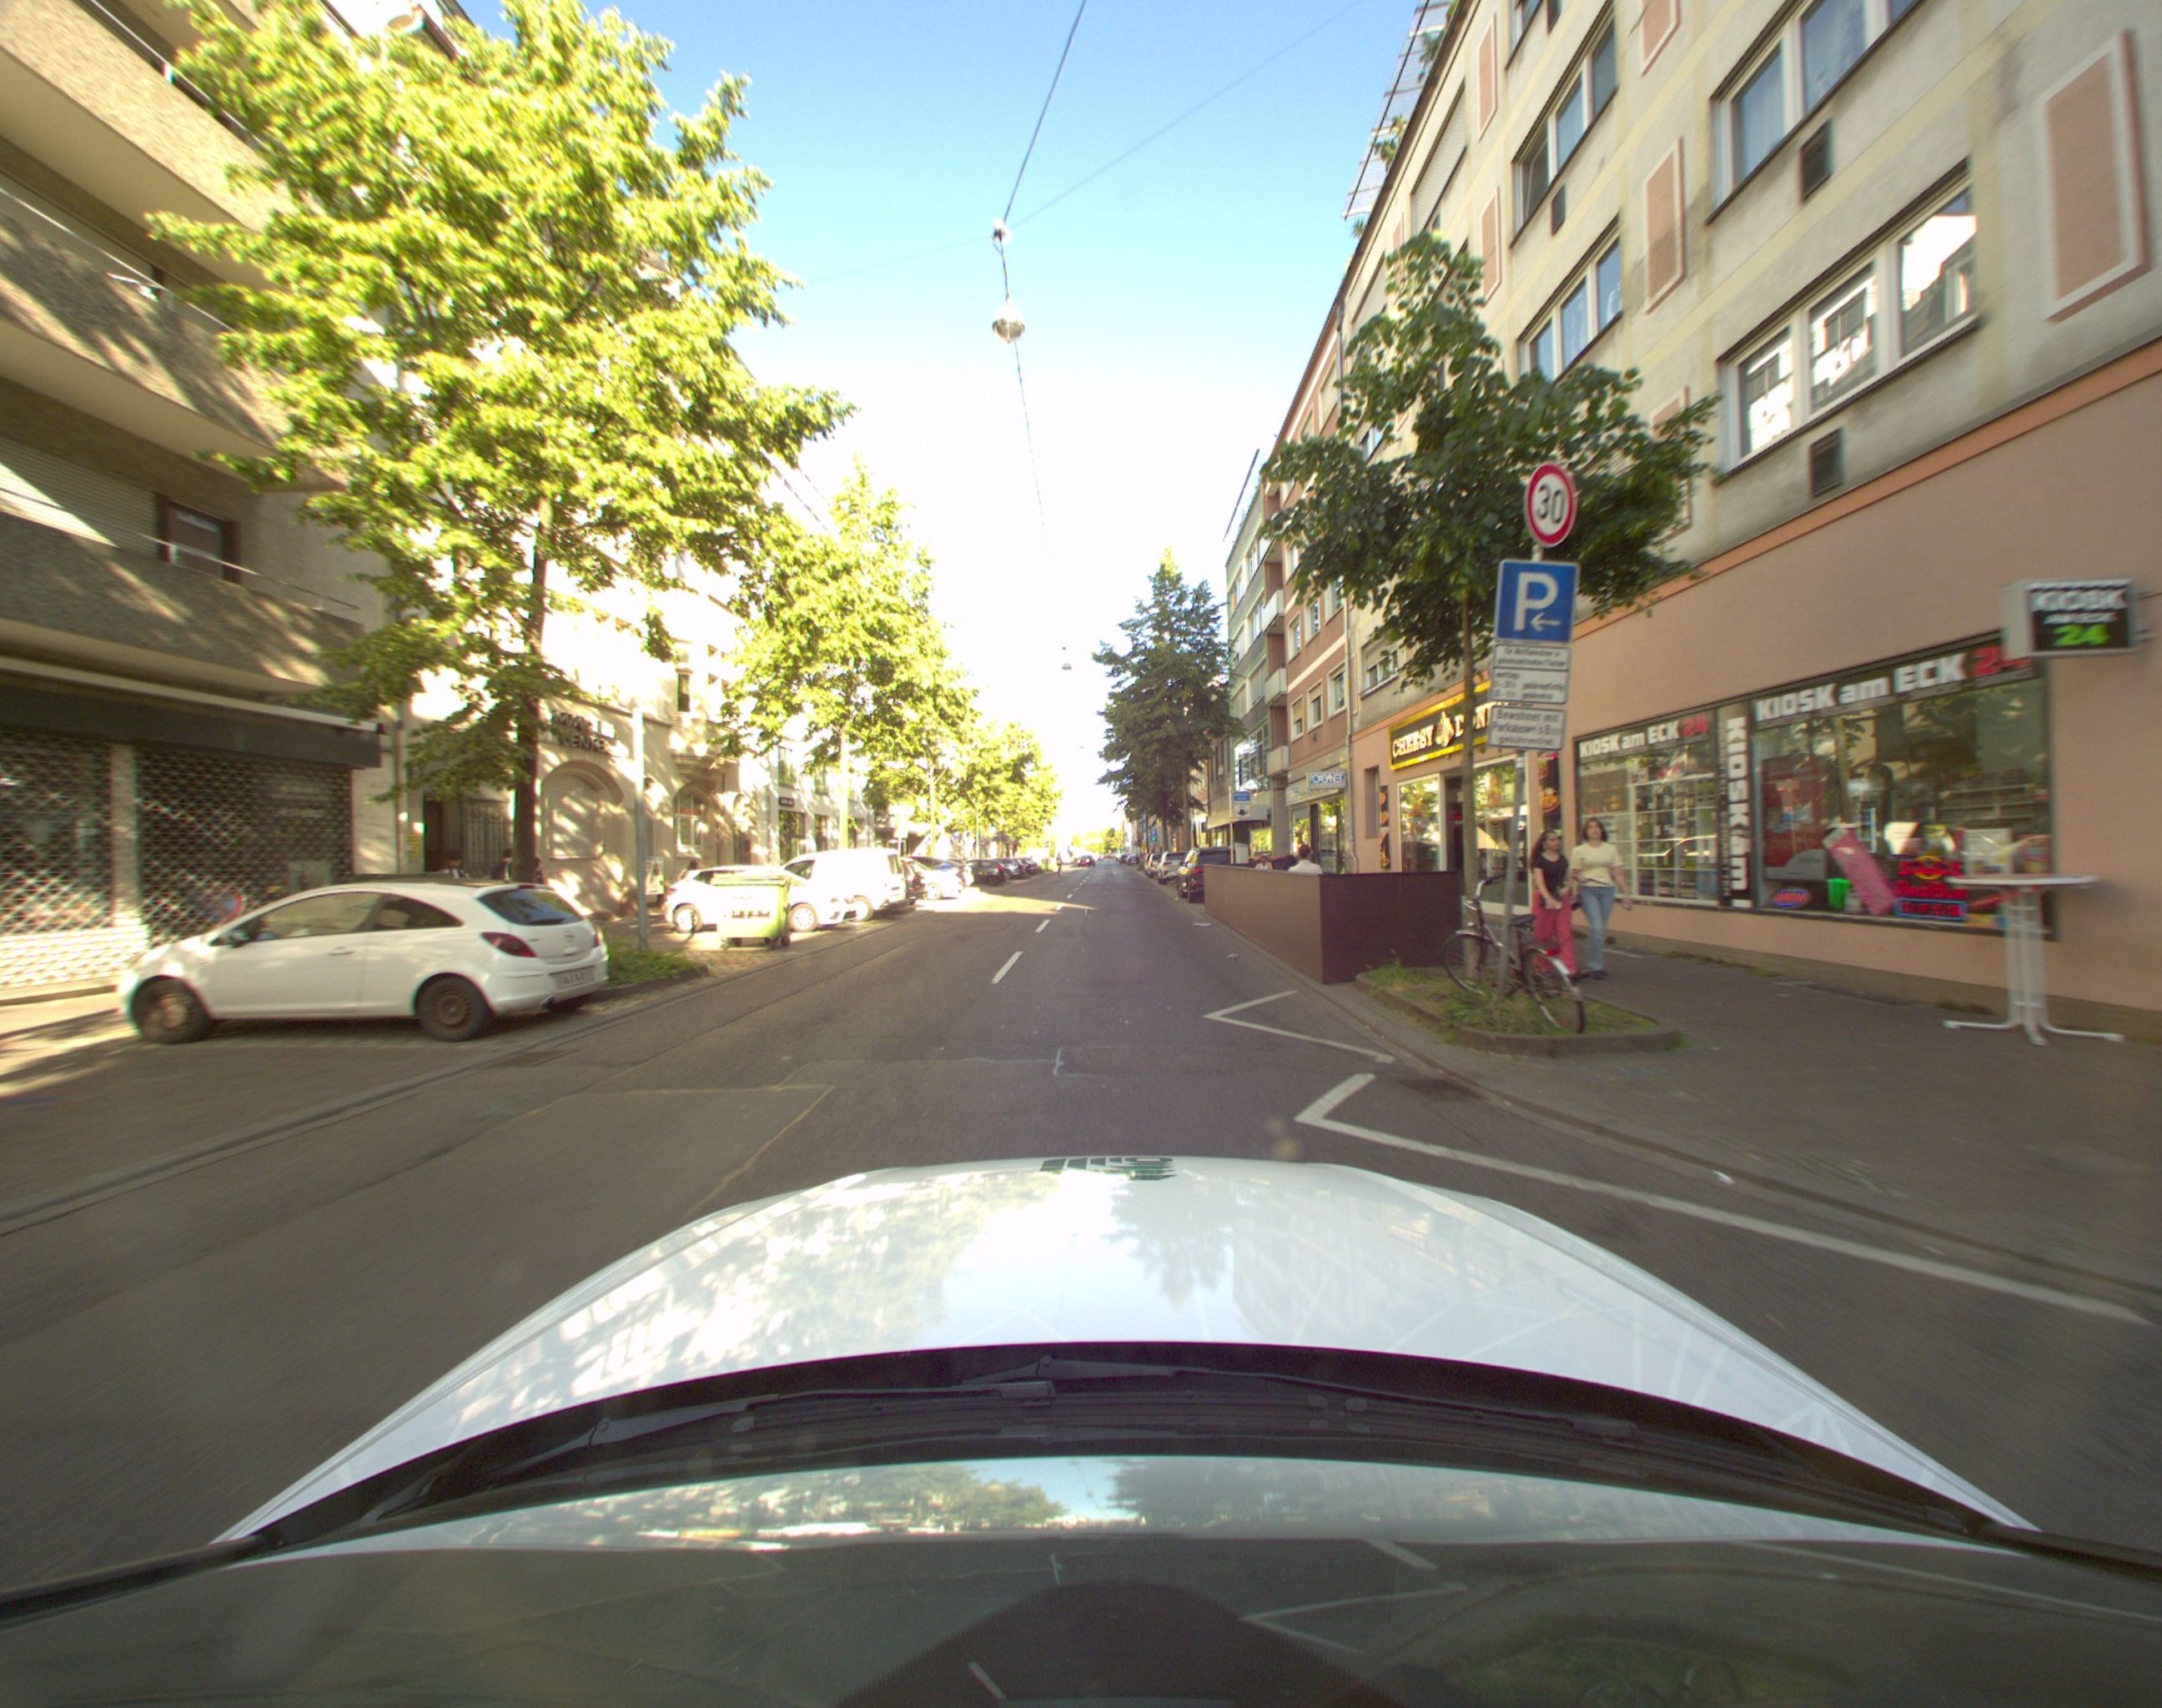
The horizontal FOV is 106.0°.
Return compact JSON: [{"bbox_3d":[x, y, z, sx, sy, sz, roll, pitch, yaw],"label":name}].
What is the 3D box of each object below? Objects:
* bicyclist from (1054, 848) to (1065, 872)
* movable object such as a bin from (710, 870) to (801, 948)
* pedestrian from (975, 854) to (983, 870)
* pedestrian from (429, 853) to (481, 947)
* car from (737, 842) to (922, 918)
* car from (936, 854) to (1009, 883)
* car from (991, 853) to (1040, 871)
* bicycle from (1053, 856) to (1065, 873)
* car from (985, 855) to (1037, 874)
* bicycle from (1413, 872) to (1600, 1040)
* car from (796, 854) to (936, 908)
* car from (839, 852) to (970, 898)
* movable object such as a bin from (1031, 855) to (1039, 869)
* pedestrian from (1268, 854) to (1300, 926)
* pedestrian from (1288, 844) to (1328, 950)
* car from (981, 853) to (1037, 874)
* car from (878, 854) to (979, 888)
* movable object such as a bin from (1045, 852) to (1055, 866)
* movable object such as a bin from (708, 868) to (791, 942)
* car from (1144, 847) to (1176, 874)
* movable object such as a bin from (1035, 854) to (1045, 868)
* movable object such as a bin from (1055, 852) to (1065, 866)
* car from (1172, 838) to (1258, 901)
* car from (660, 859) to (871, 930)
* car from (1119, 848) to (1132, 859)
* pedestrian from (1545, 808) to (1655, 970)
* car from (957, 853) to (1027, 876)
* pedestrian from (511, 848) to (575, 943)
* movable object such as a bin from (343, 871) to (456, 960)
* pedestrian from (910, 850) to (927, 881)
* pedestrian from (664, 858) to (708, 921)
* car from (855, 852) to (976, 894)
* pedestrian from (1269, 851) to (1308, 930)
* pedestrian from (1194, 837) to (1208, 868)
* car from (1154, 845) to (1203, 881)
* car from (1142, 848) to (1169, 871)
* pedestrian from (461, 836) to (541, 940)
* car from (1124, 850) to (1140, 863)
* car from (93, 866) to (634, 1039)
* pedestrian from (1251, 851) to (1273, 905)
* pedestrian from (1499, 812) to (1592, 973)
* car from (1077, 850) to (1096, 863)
[{"bbox_3d":[-1.595,0.434,60.027,0.722,1.700,1.283,-1,0,2],"label":"bicyclist"},{"bbox_3d":[-5.827,0.967,14.632,1.233,1.302,0.870,-1,0,0],"label":"movable object such as a bin"},{"bbox_3d":[-8.971,0.714,71.368,0.505,1.408,0.826,0,0,6],"label":"pedestrian"},{"bbox_3d":[-11.359,0.822,14.792,0.431,1.672,0.639,-1,0,4],"label":"pedestrian"},{"bbox_3d":[-6.381,0.633,21.026,4.090,1.836,2.040,0,0,2],"label":"car"},{"bbox_3d":[-5.806,0.770,43.812,3.775,1.458,1.777,-1,0,-6],"label":"car"},{"bbox_3d":[-5.305,0.647,66.371,3.734,1.468,1.740,-1,0,1],"label":"car"},{"bbox_3d":[-1.587,0.764,60.092,0.722,1.169,2.198,-1,0,2],"label":"bicycle"},{"bbox_3d":[-5.486,0.794,63.841,3.825,1.429,1.791,-1,0,3],"label":"car"},{"bbox_3d":[3.573,0.773,7.069,0.505,1.163,2.145,-2,0,1],"label":"bicycle"},{"bbox_3d":[-6.563,0.801,25.125,3.785,1.558,1.792,-1,0,2],"label":"car"},{"bbox_3d":[-6.437,0.737,30.036,4.349,1.570,1.947,-1,0,2],"label":"car"},{"bbox_3d":[-4.603,0.815,81.459,0.752,1.341,0.805,-2,0,0],"label":"movable object such as a bin"},{"bbox_3d":[3.899,0.686,15.670,0.471,1.362,0.595,-1,0,2],"label":"pedestrian"},{"bbox_3d":[3.345,0.620,12.032,0.471,1.529,0.462,-1,0,2],"label":"pedestrian"},{"bbox_3d":[-5.370,0.726,61.189,3.903,1.485,1.772,-1,0,3],"label":"car"},{"bbox_3d":[-6.892,0.753,37.113,4.234,1.458,1.979,-1,0,-2],"label":"car"},{"bbox_3d":[-3.354,0.569,88.428,1.038,1.471,1.143,-2,0,0],"label":"movable object such as a bin"},{"bbox_3d":[-6.319,0.956,15.589,1.188,1.345,0.932,-1,0,1],"label":"movable object such as a bin"},{"bbox_3d":[4.982,0.404,51.720,1.608,1.528,4.235,-5,0,1],"label":"car"},{"bbox_3d":[-4.485,0.717,88.406,0.960,1.471,1.143,-2,0,0],"label":"movable object such as a bin"},{"bbox_3d":[-2.267,0.547,88.441,1.038,1.471,1.453,-2,0,1],"label":"movable object such as a bin"},{"bbox_3d":[4.139,0.447,25.902,1.986,1.689,4.518,-5,0,1],"label":"car"},{"bbox_3d":[-6.957,0.878,18.263,3.964,1.464,1.888,0,0,2],"label":"car"},{"bbox_3d":[6.985,-0.122,127.175,1.966,1.725,4.826,0,0,2],"label":"car"},{"bbox_3d":[5.620,0.362,8.853,0.639,1.645,0.748,-3,0,0],"label":"pedestrian"},{"bbox_3d":[-5.959,0.683,54.629,4.478,1.458,1.790,0,0,0],"label":"car"},{"bbox_3d":[-9.595,0.718,14.535,0.563,1.626,0.727,3,0,0],"label":"pedestrian"},{"bbox_3d":[-11.397,1.000,13.673,0.818,1.397,1.228,-1,0,4],"label":"movable object such as a bin"},{"bbox_3d":[-9.553,0.676,47.878,0.694,1.797,0.748,-1,0,13],"label":"pedestrian"},{"bbox_3d":[-9.692,0.864,20.016,0.590,1.494,0.843,1,0,3],"label":"pedestrian"},{"bbox_3d":[-6.538,0.742,32.470,4.349,1.570,1.981,-1,0,2],"label":"car"},{"bbox_3d":[3.720,0.641,14.632,0.550,1.379,0.595,-1,0,2],"label":"pedestrian"},{"bbox_3d":[7.170,-0.085,48.745,0.620,1.765,0.771,-4,0,3],"label":"pedestrian"},{"bbox_3d":[4.650,0.391,39.311,1.876,1.527,4.235,-4,0,1],"label":"car"},{"bbox_3d":[5.216,0.384,57.606,1.608,1.528,3.061,-3,0,1],"label":"car"},{"bbox_3d":[-10.343,0.590,14.539,0.772,1.766,0.763,3,0,0],"label":"pedestrian"},{"bbox_3d":[6.751,0.321,107.552,1.910,1.478,4.967,-5,0,2],"label":"car"},{"bbox_3d":[-6.801,0.877,8.061,3.767,1.464,1.709,0,0,-1],"label":"car"},{"bbox_3d":[4.547,0.588,20.452,0.468,1.331,0.485,-1,0,21],"label":"pedestrian"},{"bbox_3d":[5.019,0.401,8.832,0.512,1.645,0.748,-3,0,1],"label":"pedestrian"},{"bbox_3d":[0.693,0.363,105.945,1.647,1.535,3.774,-3,0,13],"label":"car"}]
